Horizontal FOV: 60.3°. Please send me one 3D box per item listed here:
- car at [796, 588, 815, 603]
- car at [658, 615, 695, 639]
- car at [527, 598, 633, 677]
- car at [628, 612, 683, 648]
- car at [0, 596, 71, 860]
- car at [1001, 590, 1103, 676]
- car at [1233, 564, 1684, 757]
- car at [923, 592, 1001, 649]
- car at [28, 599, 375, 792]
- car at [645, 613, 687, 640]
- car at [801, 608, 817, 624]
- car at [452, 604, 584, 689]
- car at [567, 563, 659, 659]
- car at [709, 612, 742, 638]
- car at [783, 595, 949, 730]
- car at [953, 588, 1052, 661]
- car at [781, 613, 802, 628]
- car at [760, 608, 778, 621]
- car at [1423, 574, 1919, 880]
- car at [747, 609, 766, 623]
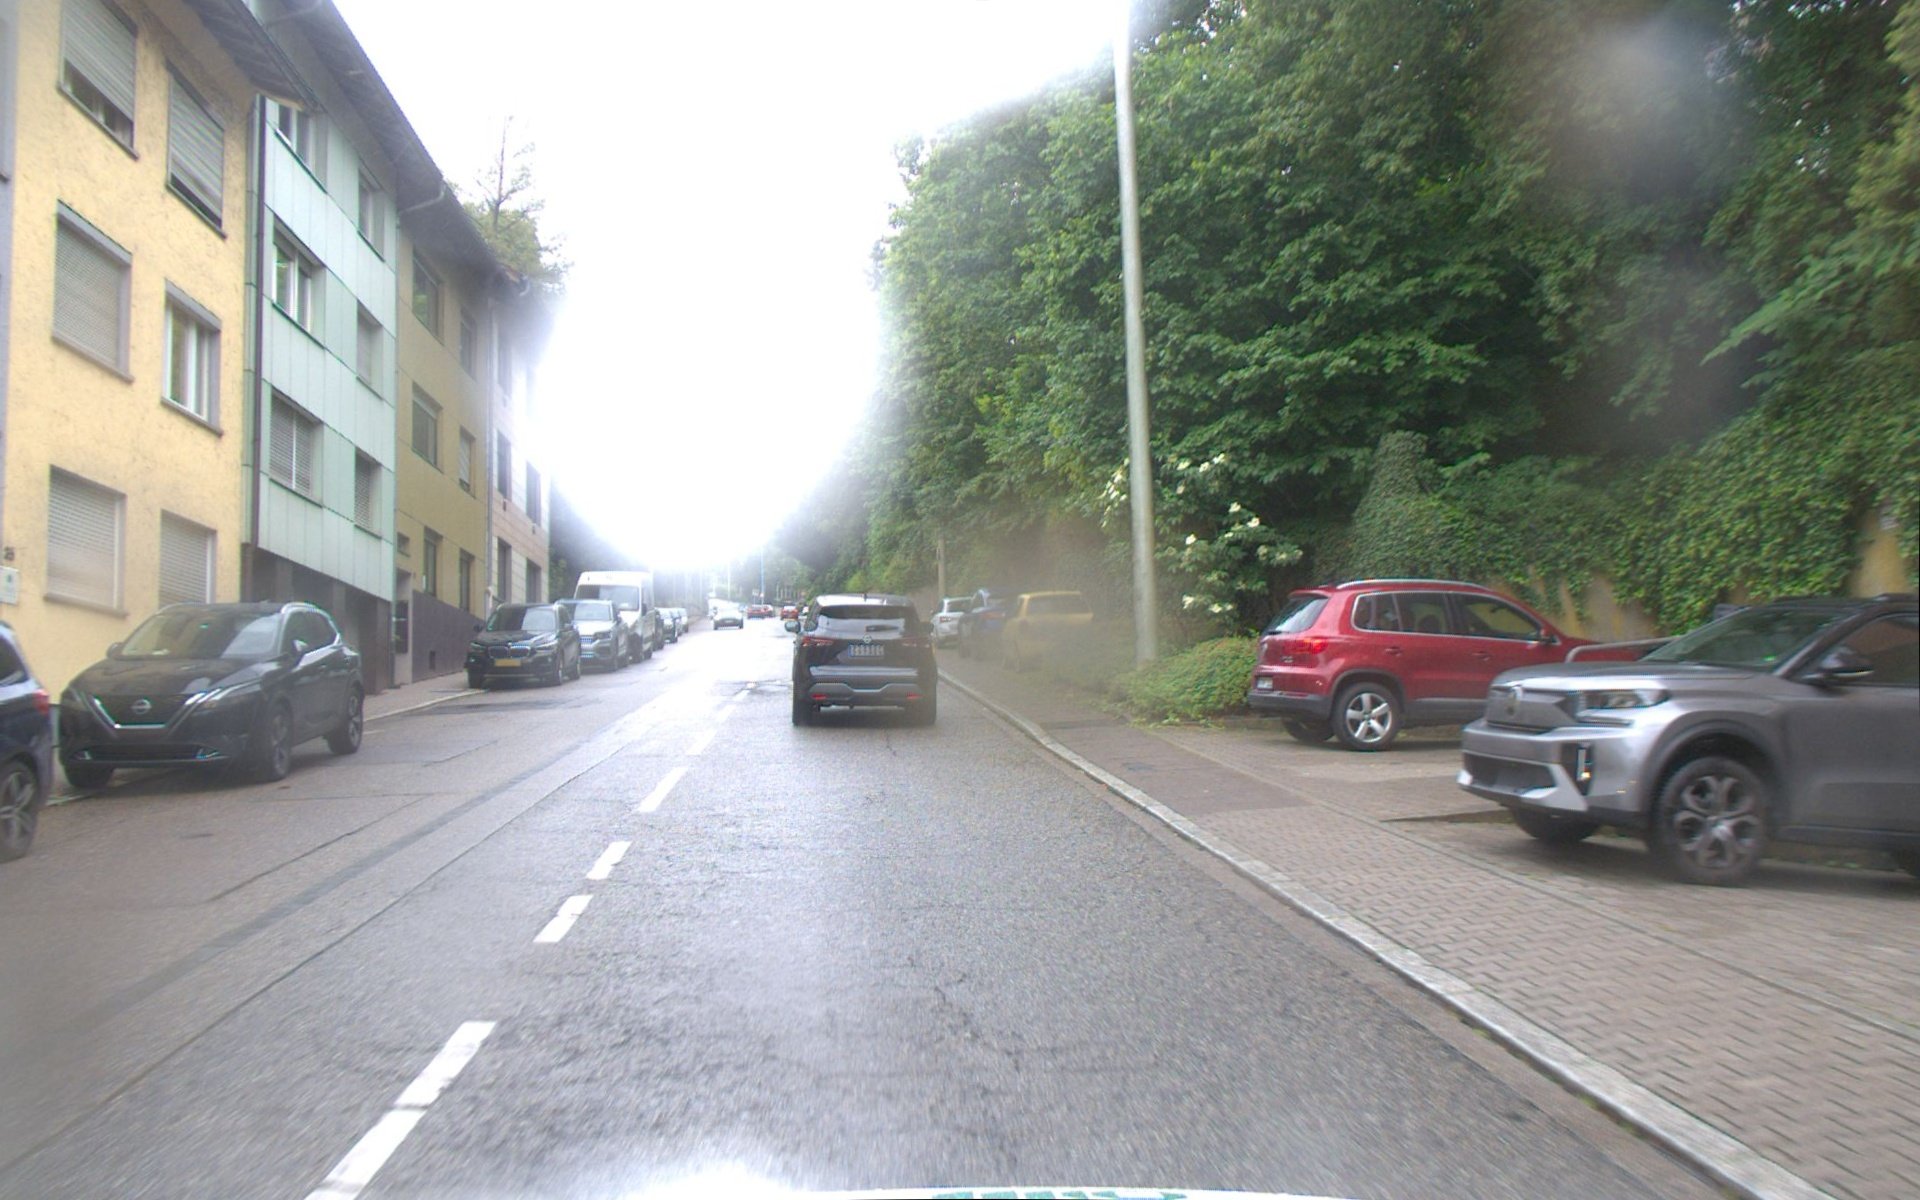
[{"bbox_3d":[-17.881,-0.523,191.406,1.954,1.587,3.997,-1,-2,-3],"label":"car"},{"bbox_3d":[-17.432,1.641,101.994,1.952,1.408,4.452,-1,0,-6],"label":"car"},{"bbox_3d":[-9.132,0.854,40.090,1.952,1.786,4.474,-1,0,-6],"label":"car"},{"bbox_3d":[-12.864,1.240,70.064,1.952,1.408,4.452,-1,0,-6],"label":"car"},{"bbox_3d":[-6.714,0.793,8.772,1.955,1.613,4.465,-1,0,-6],"label":"car"},{"bbox_3d":[1.749,0.622,32.606,1.600,1.557,3.998,1,0,-3],"label":"car"},{"bbox_3d":[5.113,0.618,17.201,4.120,1.765,1.756,2,-1,-9],"label":"car"},{"bbox_3d":[-0.001,0.616,50.392,1.777,1.556,4.409,-2,0,-7],"label":"car"},{"bbox_3d":[-7.241,0.816,16.300,1.817,1.613,4.299,-1,0,-6],"label":"car"},{"bbox_3d":[-16.140,1.449,91.045,1.952,1.408,4.452,-1,0,-6],"label":"car"},{"bbox_3d":[-20.550,2.185,225.067,1.953,2.049,3.997,1,-3,-2],"label":"car"},{"bbox_3d":[-8.949,0.893,33.844,1.952,1.613,4.299,-1,0,-6],"label":"car"},{"bbox_3d":[-9.732,0.286,46.763,1.952,2.518,5.776,-1,0,-6],"label":"car"},{"bbox_3d":[-15.283,1.620,107.916,1.955,1.587,3.994,1,0,-7],"label":"car"},{"bbox_3d":[-1.294,0.746,21.722,1.955,1.587,3.996,1,0,-5],"label":"car"},{"bbox_3d":[0.952,0.572,39.520,1.776,1.556,4.411,-2,0,-6],"label":"car"},{"bbox_3d":[-17.699,2.127,173.730,2.036,1.587,3.992,0,0,-8],"label":"car"},{"bbox_3d":[-22.987,1.730,198.975,2.035,1.587,3.994,0,0,-6],"label":"car"},{"bbox_3d":[5.007,0.715,9.553,4.118,1.522,1.757,2,-1,-8],"label":"car"},{"bbox_3d":[-22.089,1.723,179.714,2.035,1.587,3.994,0,0,-7],"label":"car"}]
